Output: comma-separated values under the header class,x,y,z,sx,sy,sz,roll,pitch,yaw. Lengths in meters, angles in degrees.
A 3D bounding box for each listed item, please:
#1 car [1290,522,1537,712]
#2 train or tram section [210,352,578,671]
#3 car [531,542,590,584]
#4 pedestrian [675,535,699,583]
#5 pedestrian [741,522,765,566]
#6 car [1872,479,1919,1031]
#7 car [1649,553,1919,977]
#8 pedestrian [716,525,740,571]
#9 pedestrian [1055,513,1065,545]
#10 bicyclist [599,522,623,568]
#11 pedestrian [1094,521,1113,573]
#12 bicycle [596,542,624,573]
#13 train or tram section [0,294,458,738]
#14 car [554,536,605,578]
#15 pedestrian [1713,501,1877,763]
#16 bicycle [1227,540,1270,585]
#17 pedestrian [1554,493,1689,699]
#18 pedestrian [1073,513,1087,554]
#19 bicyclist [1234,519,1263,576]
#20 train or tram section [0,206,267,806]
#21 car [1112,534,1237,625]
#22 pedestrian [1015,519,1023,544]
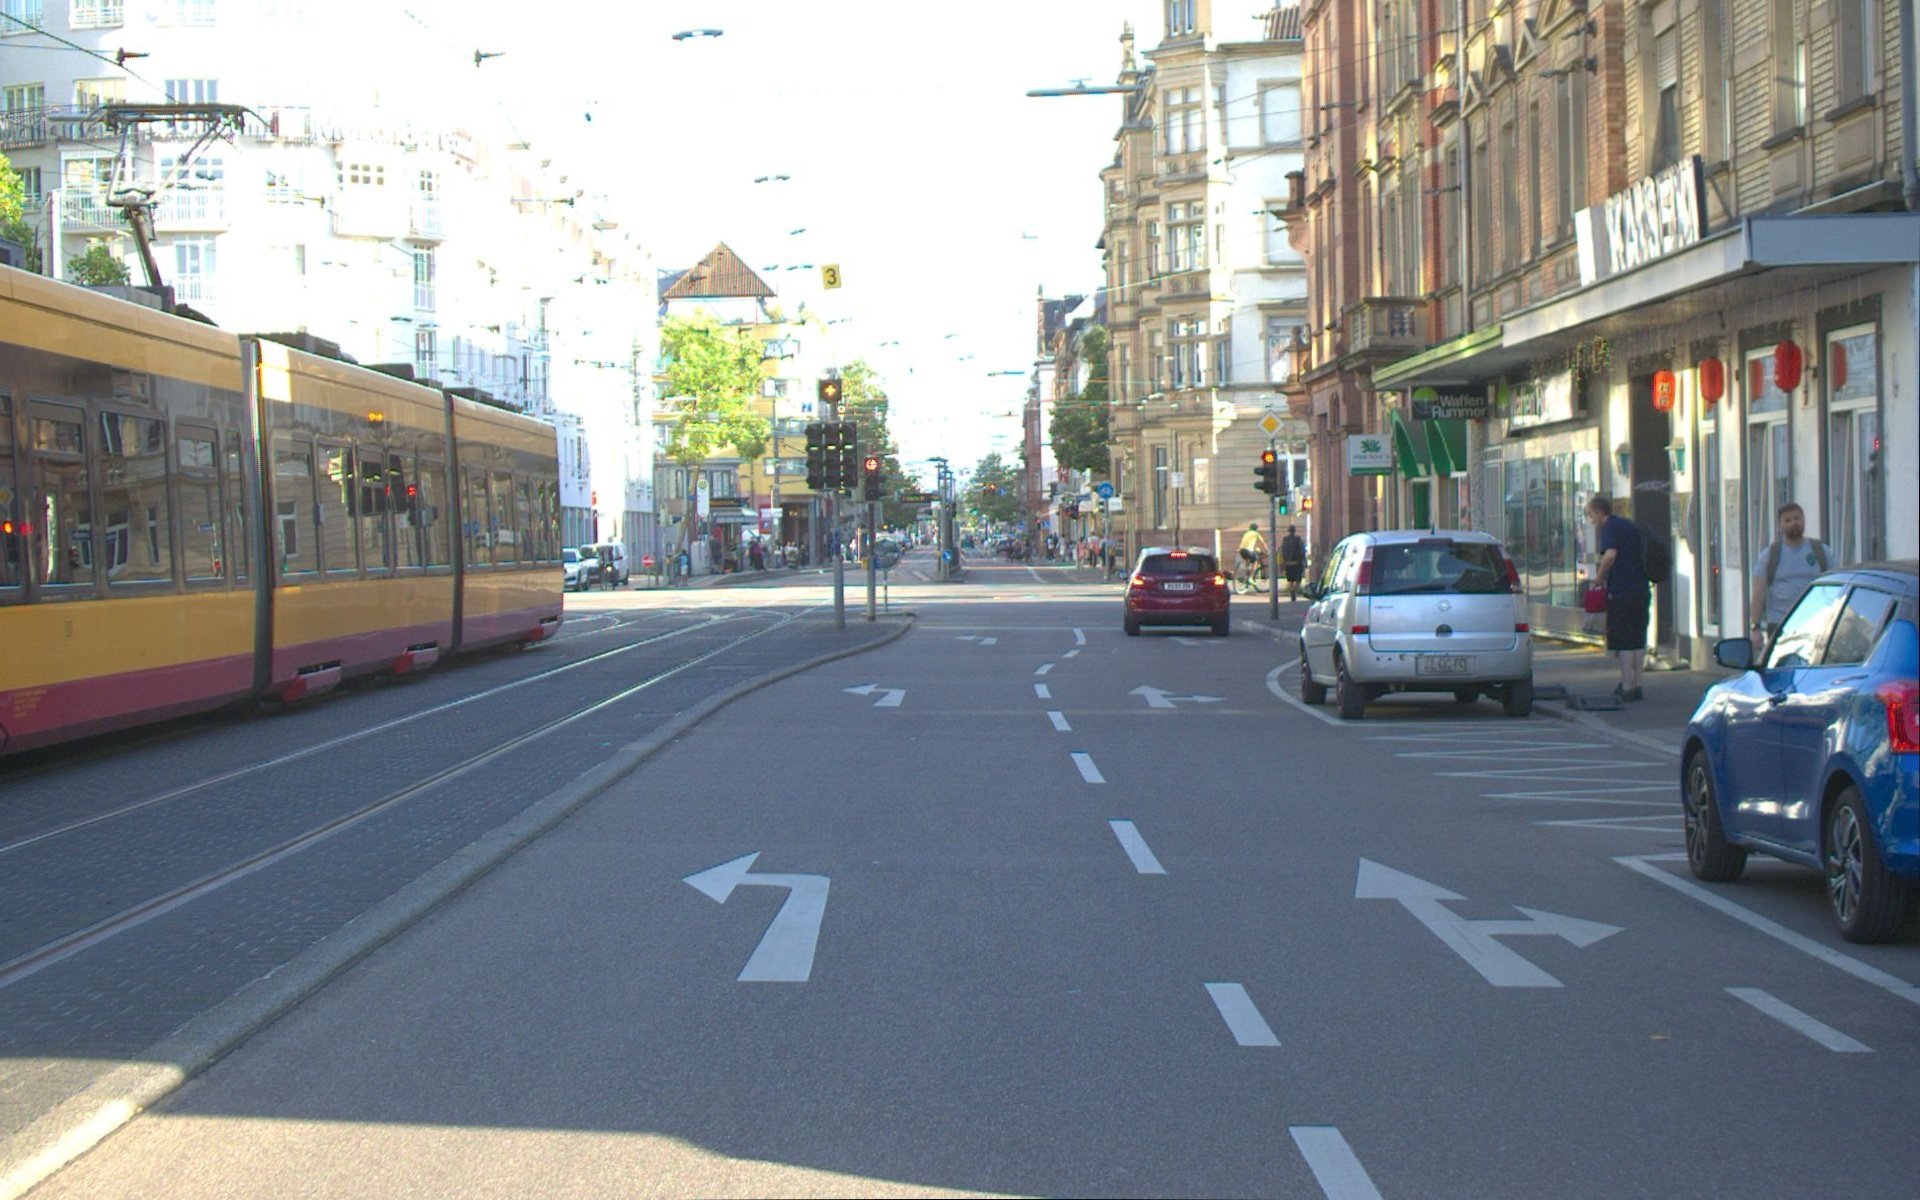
class,x,y,z,sx,sy,sz,roll,pitch,yaw
car,4.048,0.106,31.222,1.637,1.609,3.946,0,1,-1
train or tram section,-7.134,-1.111,45.426,2.675,3.539,12.842,-2,1,0
car,-15.473,-1.445,133.274,1.765,1.540,3.461,-1,1,1
pedestrian,-9.977,-1.505,125.802,0.768,1.724,0.572,-1,1,3
pedestrian,-9.674,-2.626,160.544,1.045,2.007,0.959,-1,1,-1
car,3.963,0.528,9.228,1.820,1.751,4.475,0,1,0
car,4.165,0.594,14.513,1.637,1.487,3.795,1,2,-1
pedestrian,-10.346,-2.329,153.514,0.956,2.007,1.049,-1,1,1
pedestrian,6.167,-4.360,211.125,0.577,2.007,0.631,-1,1,1
bicyclist,-13.231,-2.079,130.313,0.807,1.720,0.794,-1,1,0
pedestrian,5.544,-2.040,132.538,0.651,2.007,0.760,-1,1,0
bicycle,-13.224,-1.626,130.091,0.807,1.143,2.050,-1,1,0
train or tram section,-7.072,-0.763,33.443,2.675,3.539,11.127,-2,1,0
car,-16.183,-1.855,146.299,1.701,1.712,3.564,-1,1,0
pedestrian,5.786,0.215,23.874,0.787,1.732,0.946,-4,0,0
bicycle,7.253,-0.941,86.444,0.421,1.092,1.410,-1,1,33
pedestrian,5.942,-0.046,30.948,0.946,1.786,1.055,-2,1,0
pedestrian,5.907,-3.249,168.863,0.577,2.007,0.630,-1,1,7
bicyclist,7.260,-1.323,86.465,0.421,1.404,0.658,-1,1,33
train or tram section,-7.034,-0.550,21.608,2.758,3.539,12.468,-2,1,0
car,3.568,-0.376,57.713,1.754,1.461,3.946,0,1,-1
pedestrian,4.364,-5.091,255.268,0.577,1.880,0.669,-1,1,1
